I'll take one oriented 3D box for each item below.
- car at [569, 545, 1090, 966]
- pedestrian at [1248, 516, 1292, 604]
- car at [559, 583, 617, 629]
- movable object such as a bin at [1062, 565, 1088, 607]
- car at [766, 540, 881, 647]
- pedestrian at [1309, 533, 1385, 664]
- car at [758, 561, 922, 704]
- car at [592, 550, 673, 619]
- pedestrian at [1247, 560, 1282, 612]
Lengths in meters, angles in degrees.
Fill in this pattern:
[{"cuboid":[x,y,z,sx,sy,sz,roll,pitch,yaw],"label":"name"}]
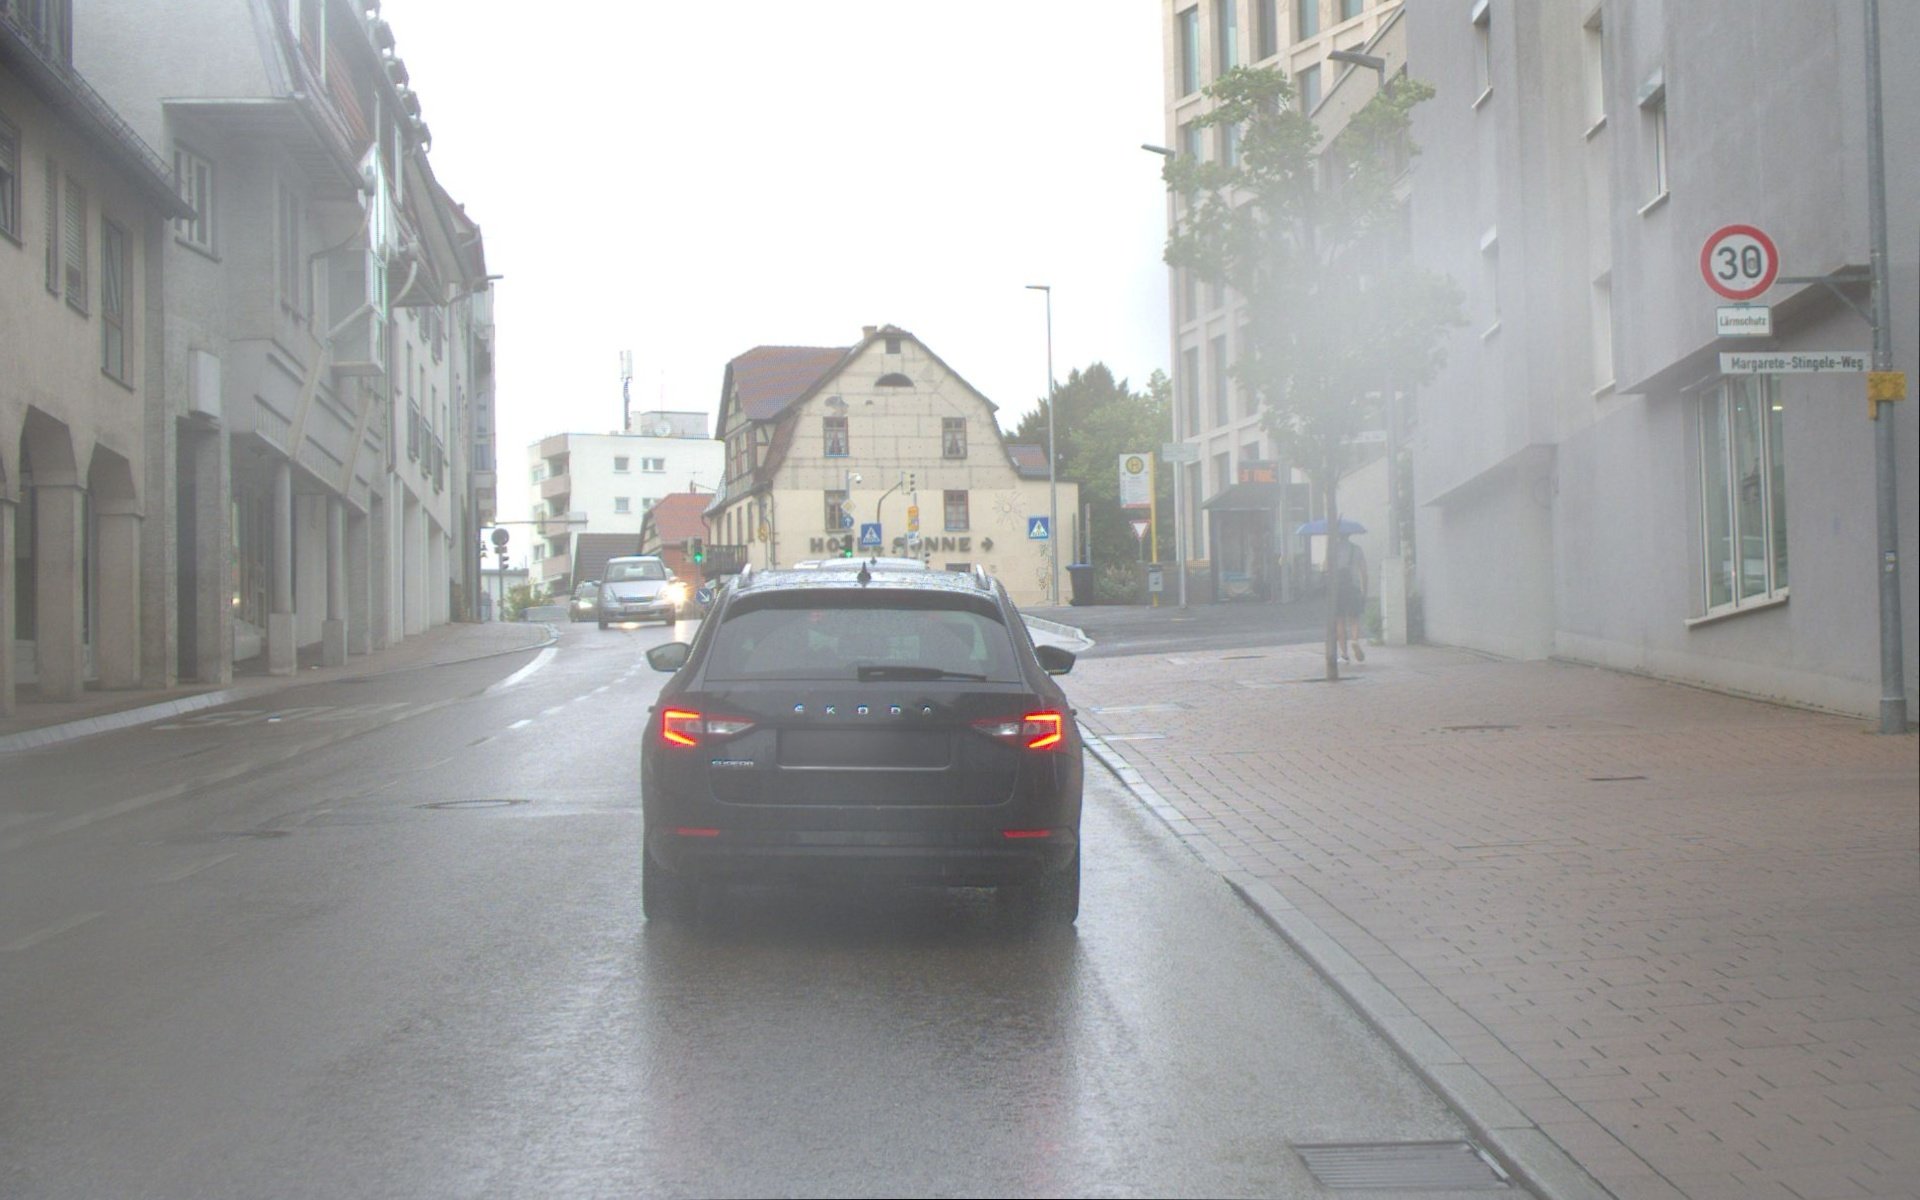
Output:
[{"cuboid":[-0.564,0.564,15.208,1.944,1.561,4.417,-1,1,-2],"label":"car"},{"cuboid":[6.933,-0.897,76.998,0.782,1.933,1.021,-3,0,-1],"label":"pedestrian"},{"cuboid":[-12.042,0.185,111.168,1.676,1.405,3.589,-1,1,-9],"label":"car"},{"cuboid":[2.990,-0.360,89.248,0.595,1.058,0.579,-1,0,-2],"label":"movable object such as a bin"},{"cuboid":[-2.113,-0.118,53.518,1.680,1.555,4.000,-2,1,-2],"label":"car"},{"cuboid":[4.743,-0.021,42.195,0.736,1.537,1.038,-4,0,1],"label":"pedestrian"},{"cuboid":[-1.398,0.331,38.780,1.677,1.505,3.589,-1,1,-4],"label":"car"},{"cuboid":[-7.490,-0.362,78.843,1.677,1.505,3.589,-1,1,-3],"label":"car"},{"cuboid":[6.924,-0.324,78.250,0.672,1.158,0.635,-3,0,-1],"label":"pedestrian"}]
